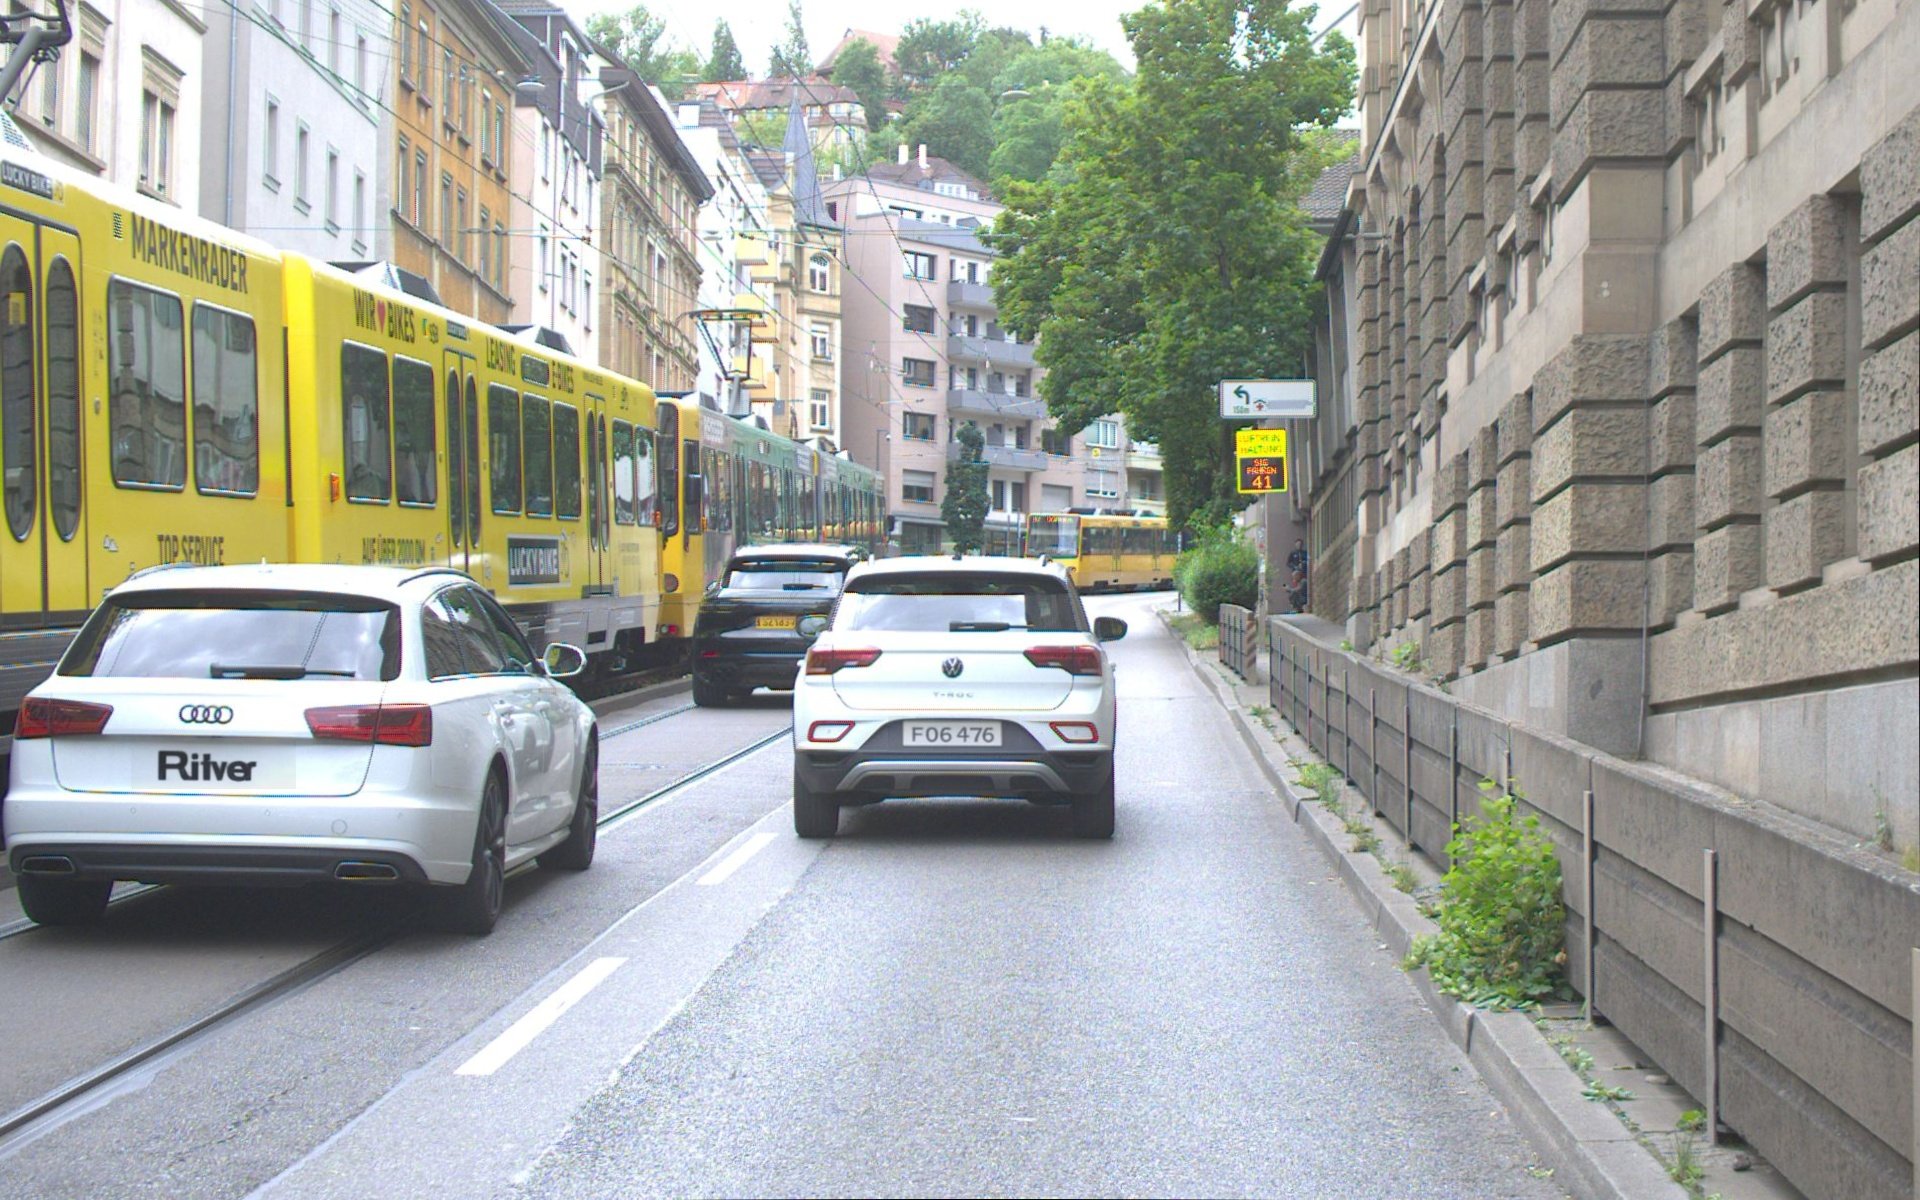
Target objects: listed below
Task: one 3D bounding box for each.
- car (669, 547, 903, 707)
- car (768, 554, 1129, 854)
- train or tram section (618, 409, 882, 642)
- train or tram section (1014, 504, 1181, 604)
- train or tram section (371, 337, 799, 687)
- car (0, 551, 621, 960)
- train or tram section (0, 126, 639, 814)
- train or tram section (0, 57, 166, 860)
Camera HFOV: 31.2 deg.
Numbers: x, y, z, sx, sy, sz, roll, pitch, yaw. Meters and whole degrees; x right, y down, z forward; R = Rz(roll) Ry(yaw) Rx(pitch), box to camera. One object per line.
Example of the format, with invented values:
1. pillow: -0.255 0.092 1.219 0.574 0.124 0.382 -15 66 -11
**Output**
1. car: -1.757 0.242 36.118 2.038 1.566 4.358 1 1 3
2. car: 0.029 0.522 20.011 1.879 1.549 4.000 1 1 3
3. train or tram section: -3.647 -1.312 65.570 2.876 3.713 18.755 2 1 3
4. train or tram section: 6.359 -2.026 153.590 3.019 4.199 18.845 1 1 16
5. train or tram section: -4.535 -1.055 46.833 2.876 3.713 18.755 2 1 2
6. car: -2.702 0.538 14.785 1.879 1.450 4.617 1 1 2
7. train or tram section: -5.387 -0.835 28.092 2.876 3.713 18.701 2 1 2
8. train or tram section: -6.039 -0.637 11.290 2.882 3.713 14.856 2 1 2
